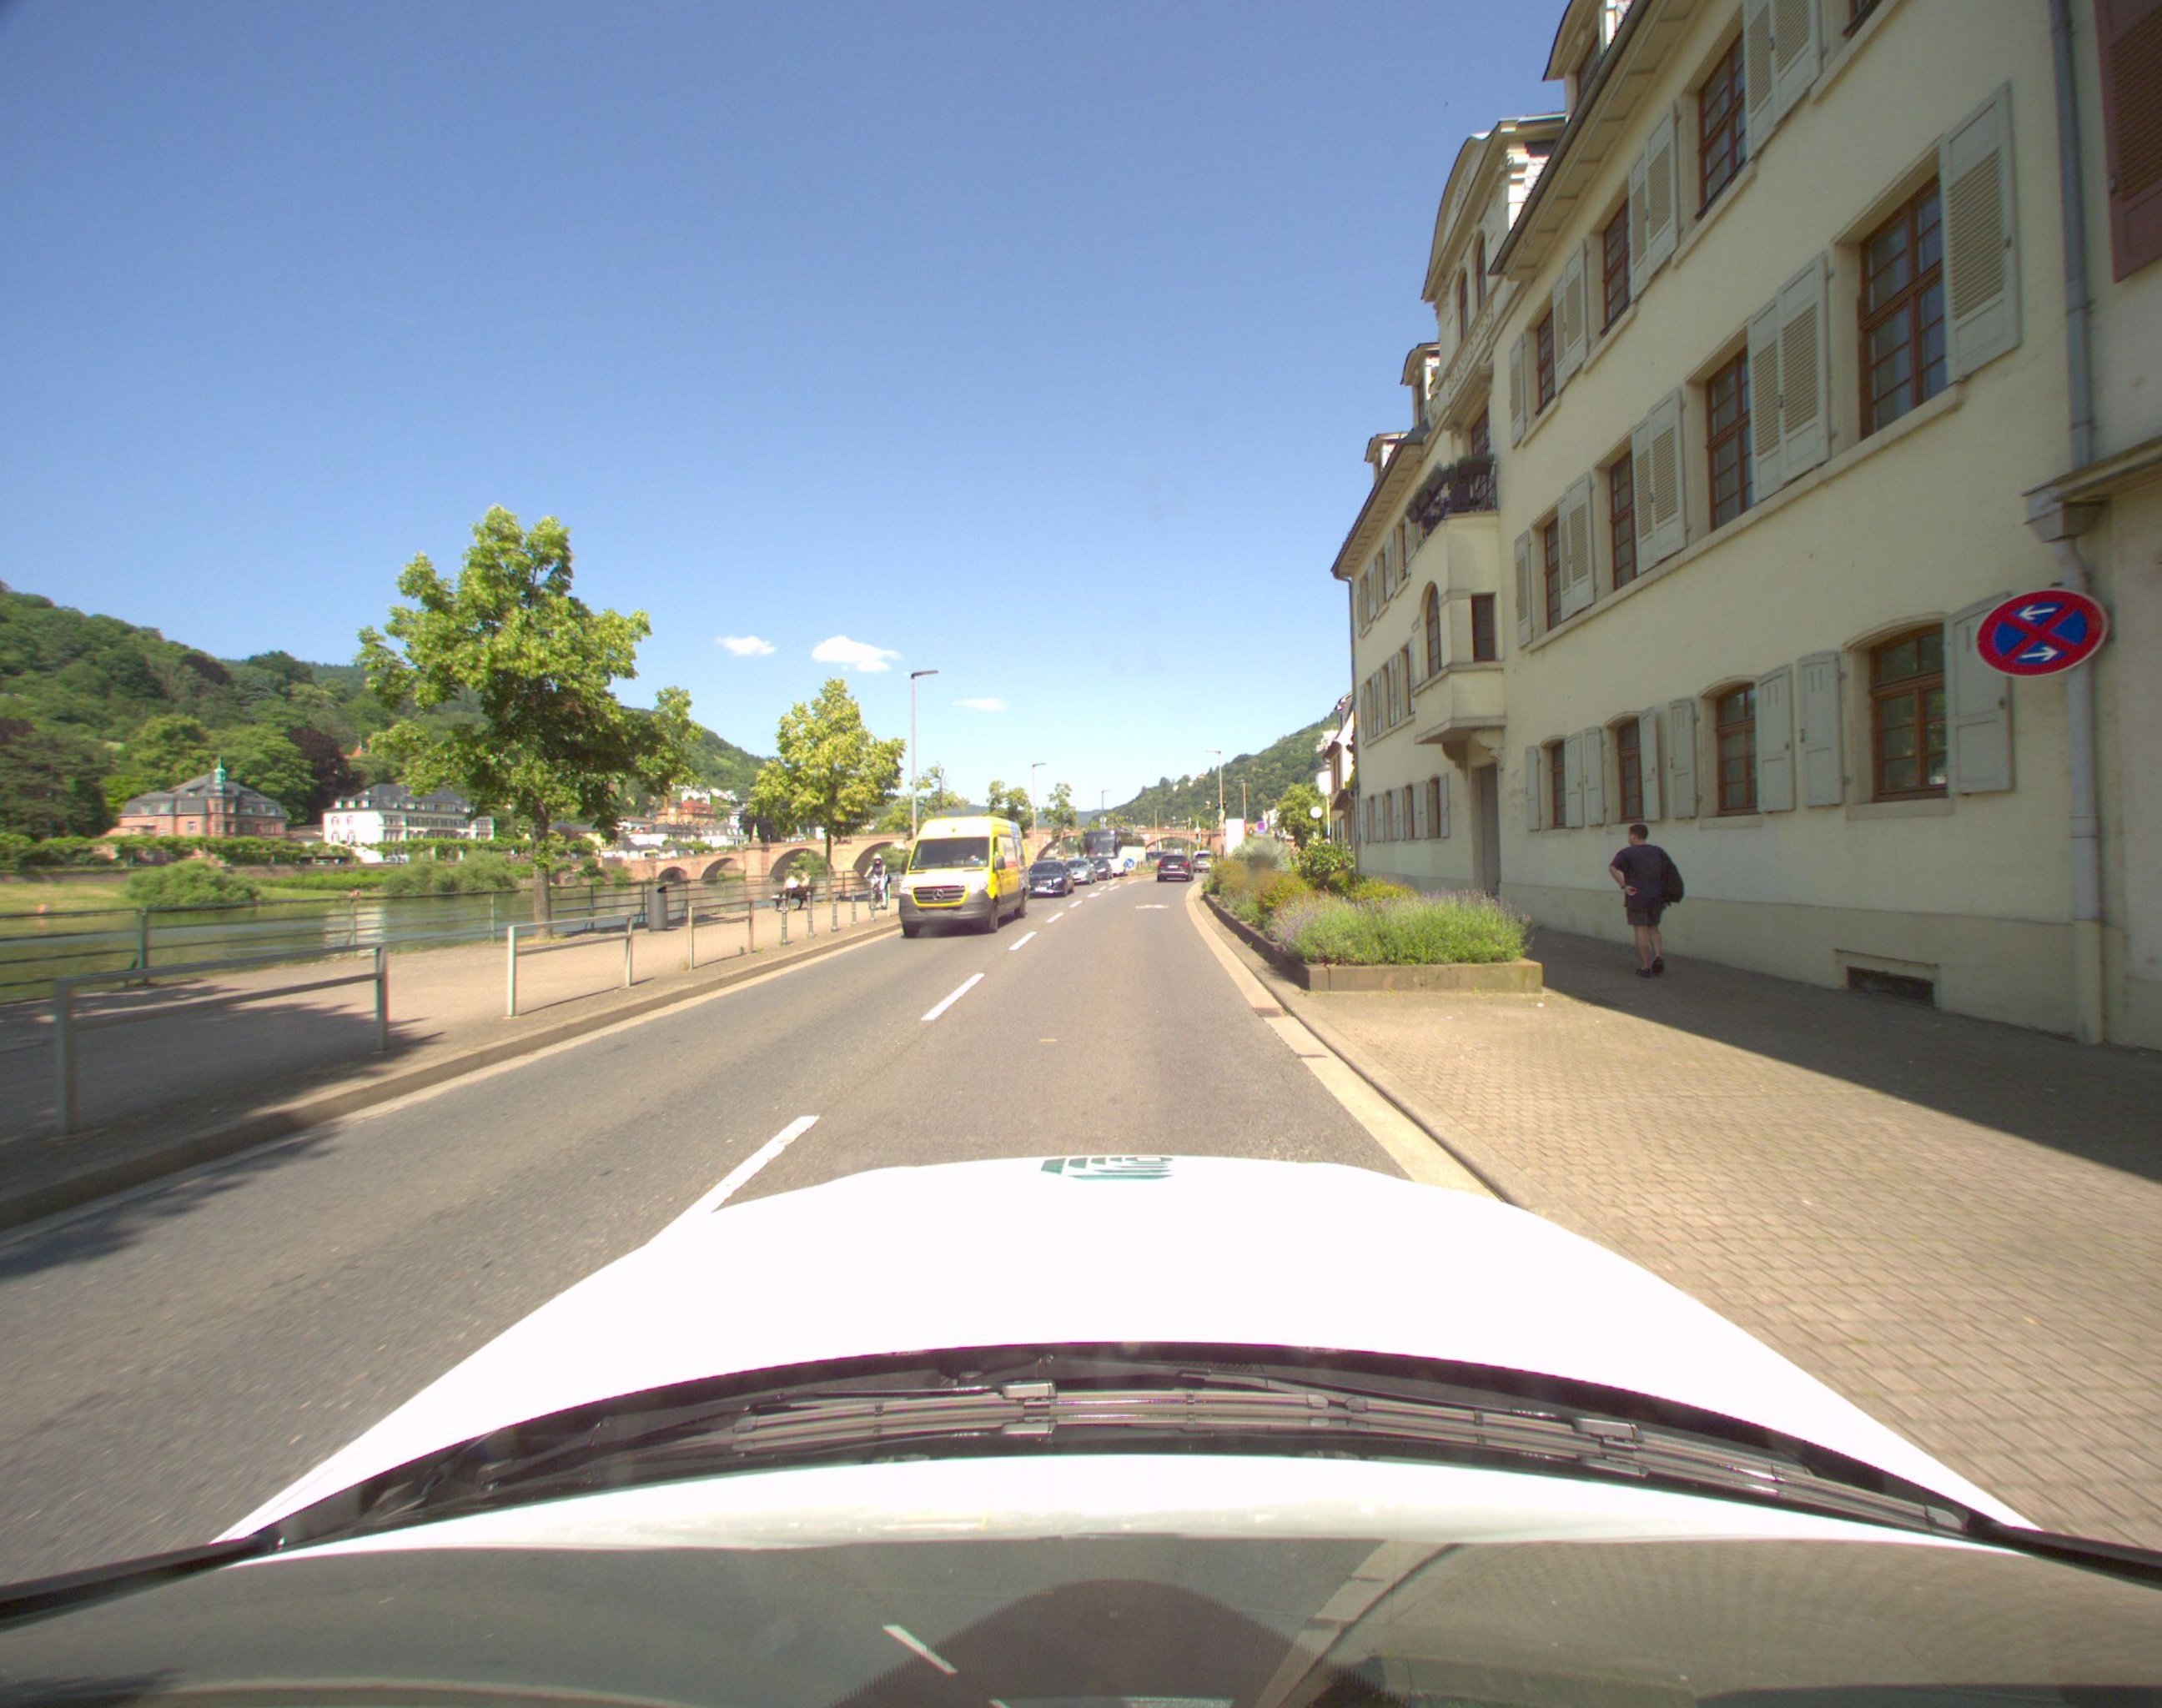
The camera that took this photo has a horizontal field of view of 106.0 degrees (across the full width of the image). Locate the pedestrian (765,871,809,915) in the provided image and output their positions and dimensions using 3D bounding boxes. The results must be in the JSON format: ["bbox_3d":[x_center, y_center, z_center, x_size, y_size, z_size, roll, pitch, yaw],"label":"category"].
[{"bbox_3d":[-8.956,1.179,24.835,0.931,1.281,0.852,-2,-1,10],"label":"pedestrian"}]

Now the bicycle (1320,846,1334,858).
[{"bbox_3d":[20.665,-0.199,68.520,0.746,0.964,1.784,-2,-1,4],"label":"bicycle"}]

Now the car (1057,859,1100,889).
[{"bbox_3d":[-0.075,1.076,45.698,1.804,1.428,4.319,-4,0,7],"label":"car"}]

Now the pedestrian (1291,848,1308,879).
[{"bbox_3d":[11.627,0.499,43.340,0.757,1.595,0.698,-2,0,9],"label":"pedestrian"}]

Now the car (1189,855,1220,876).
[{"bbox_3d":[9.557,0.848,62.937,1.913,1.461,4.849,-2,0,13],"label":"car"}]

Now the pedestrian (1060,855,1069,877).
[{"bbox_3d":[-1.358,0.957,67.300,0.616,1.780,0.664,-2,0,9],"label":"pedestrian"}]

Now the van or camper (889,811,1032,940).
[{"bbox_3d":[-2.657,0.457,20.016,2.079,2.557,7.096,-2,0,3],"label":"van or camper"}]

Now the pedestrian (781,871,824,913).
[{"bbox_3d":[-8.793,1.191,25.736,0.931,1.281,0.852,-2,-1,10],"label":"pedestrian"}]

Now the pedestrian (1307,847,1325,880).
[{"bbox_3d":[12.420,0.488,43.106,0.733,1.698,0.936,-3,-1,9],"label":"pedestrian"}]

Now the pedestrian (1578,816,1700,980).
[{"bbox_3d":[6.229,0.478,9.133,0.758,1.713,0.697,-5,-1,4],"label":"pedestrian"}]

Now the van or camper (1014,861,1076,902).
[{"bbox_3d":[-1.432,1.086,34.180,1.985,1.454,4.687,-4,-1,4],"label":"van or camper"}]

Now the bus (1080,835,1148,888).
[{"bbox_3d":[2.768,0.593,62.593,2.613,3.564,13.029,-2,-1,13],"label":"bus"}]

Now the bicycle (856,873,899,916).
[{"bbox_3d":[-6.230,1.222,25.089,0.708,1.168,1.898,-2,0,3],"label":"bicycle"}]

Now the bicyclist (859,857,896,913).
[{"bbox_3d":[-6.244,0.938,25.076,0.737,1.667,1.090,-2,0,3],"label":"bicyclist"}]

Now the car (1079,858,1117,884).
[{"bbox_3d":[1.121,1.057,51.412,1.806,1.429,4.203,-3,0,8],"label":"car"}]

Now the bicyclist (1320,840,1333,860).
[{"bbox_3d":[20.665,-0.335,68.543,0.763,1.583,1.090,-2,-1,3],"label":"bicyclist"}]

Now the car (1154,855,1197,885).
[{"bbox_3d":[5.336,0.852,45.472,1.913,1.553,4.849,-1,0,13],"label":"car"}]
